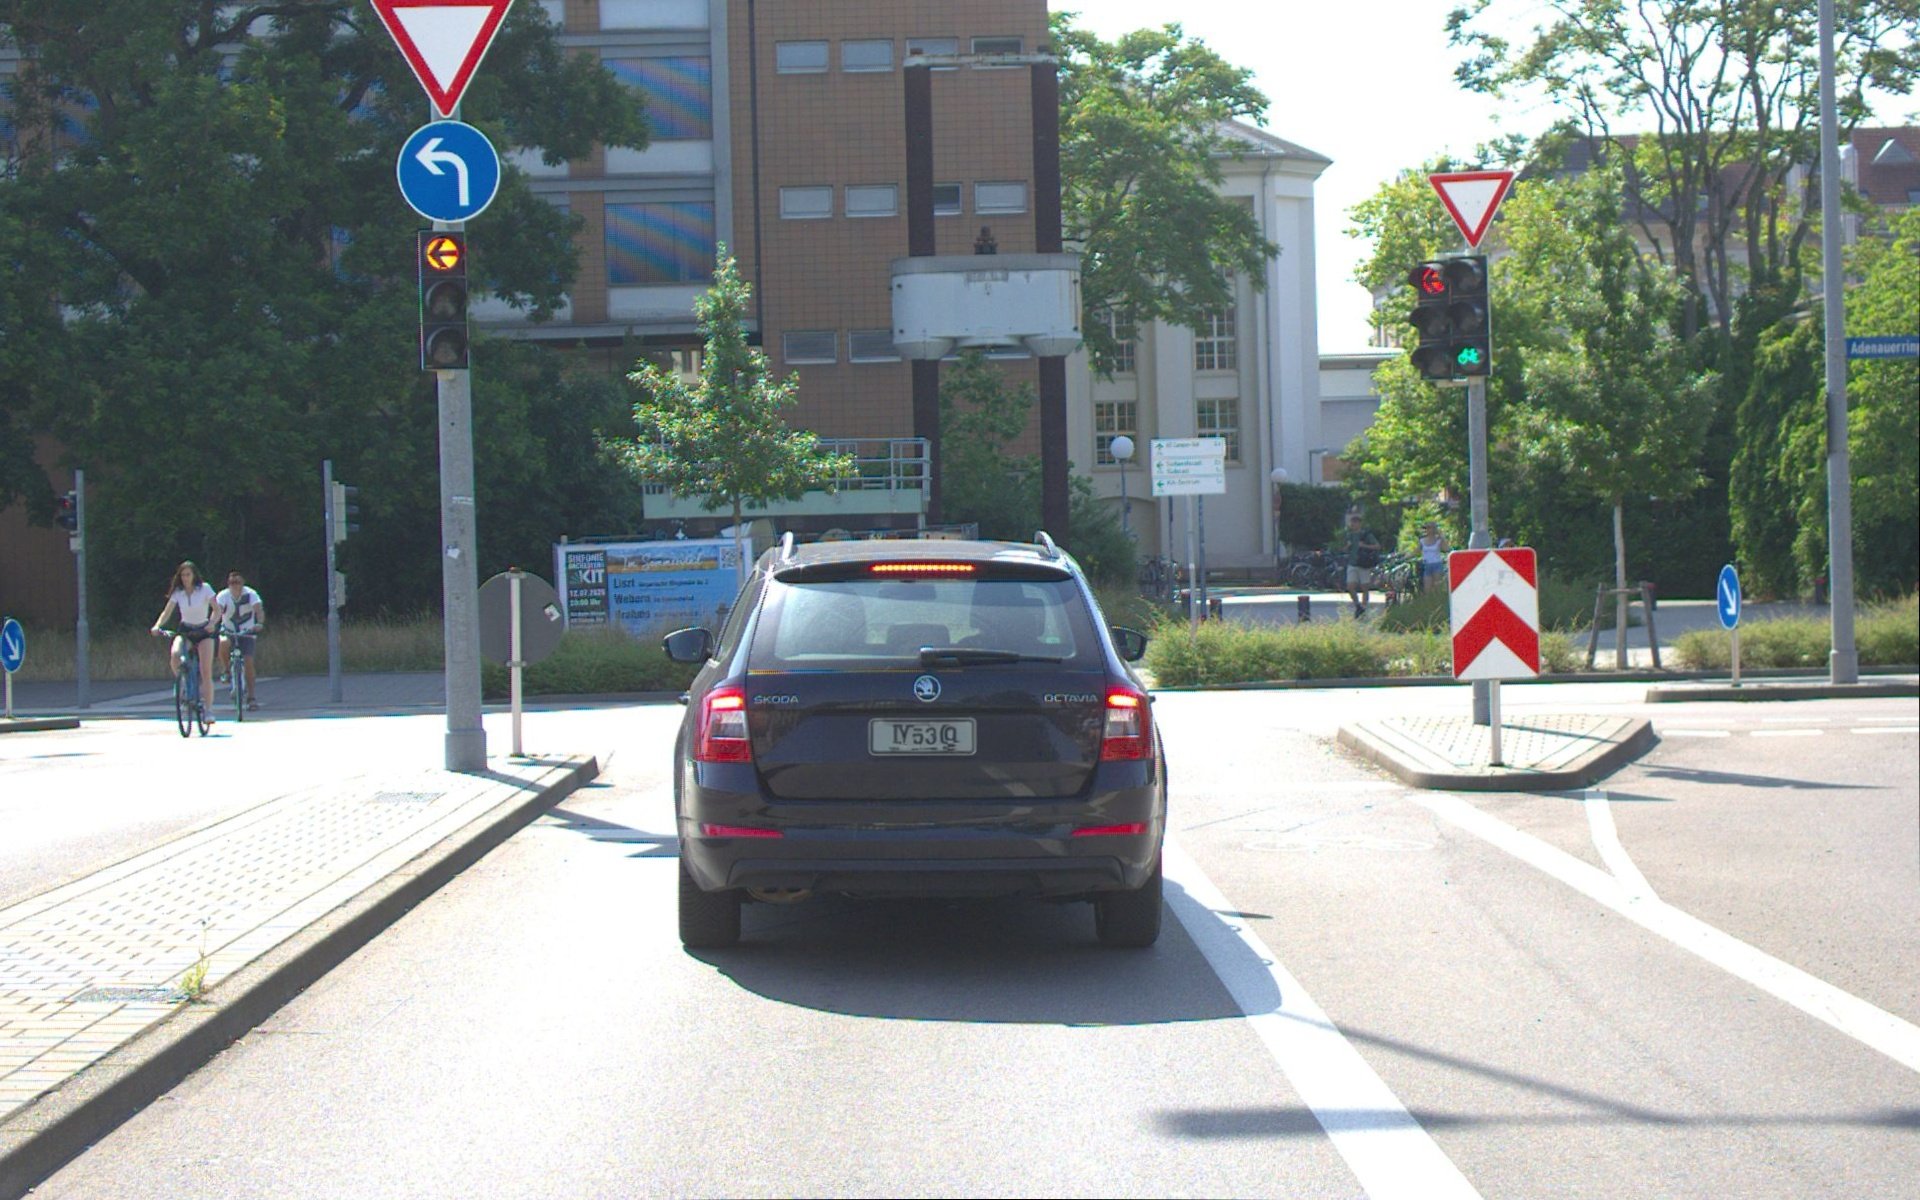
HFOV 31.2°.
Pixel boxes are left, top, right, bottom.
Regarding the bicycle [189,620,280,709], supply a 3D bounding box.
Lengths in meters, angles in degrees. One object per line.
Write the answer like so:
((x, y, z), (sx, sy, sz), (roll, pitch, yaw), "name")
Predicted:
((-8.642, 0.756, 40.992), (0.704, 0.974, 2.031), (-2, 1, -2), "bicycle")

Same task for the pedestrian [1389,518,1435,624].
((8.213, -0.532, 62.524), (0.637, 1.868, 0.796), (-3, 1, -1), "pedestrian")

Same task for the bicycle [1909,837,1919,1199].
((2.250, 0.926, 5.797), (0.596, 0.928, 2.028), (0, 0, -4), "bicycle")

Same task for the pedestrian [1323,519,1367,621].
((7.134, -0.558, 63.670), (0.597, 1.868, 0.638), (-2, 1, 23), "pedestrian")

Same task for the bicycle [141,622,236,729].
((-7.701, 0.736, 34.389), (0.618, 0.957, 1.968), (-4, 1, -5), "bicycle")

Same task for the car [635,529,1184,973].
((-0.170, 0.458, 13.092), (1.780, 1.438, 3.818), (0, 1, 0), "car")

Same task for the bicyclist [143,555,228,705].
((-7.726, 0.291, 34.334), (0.618, 1.438, 0.921), (-4, 1, -5), "bicyclist")

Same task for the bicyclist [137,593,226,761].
((-7.648, 0.744, 33.820), (0.618, 1.576, 1.014), (-4, 1, -5), "bicyclist")

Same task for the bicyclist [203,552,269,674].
((-8.610, 0.150, 40.883), (0.539, 1.412, 1.030), (-3, 0, -2), "bicyclist")

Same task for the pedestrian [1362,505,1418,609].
((7.954, -0.793, 63.618), (0.795, 1.868, 0.638), (-3, 1, 24), "pedestrian")
